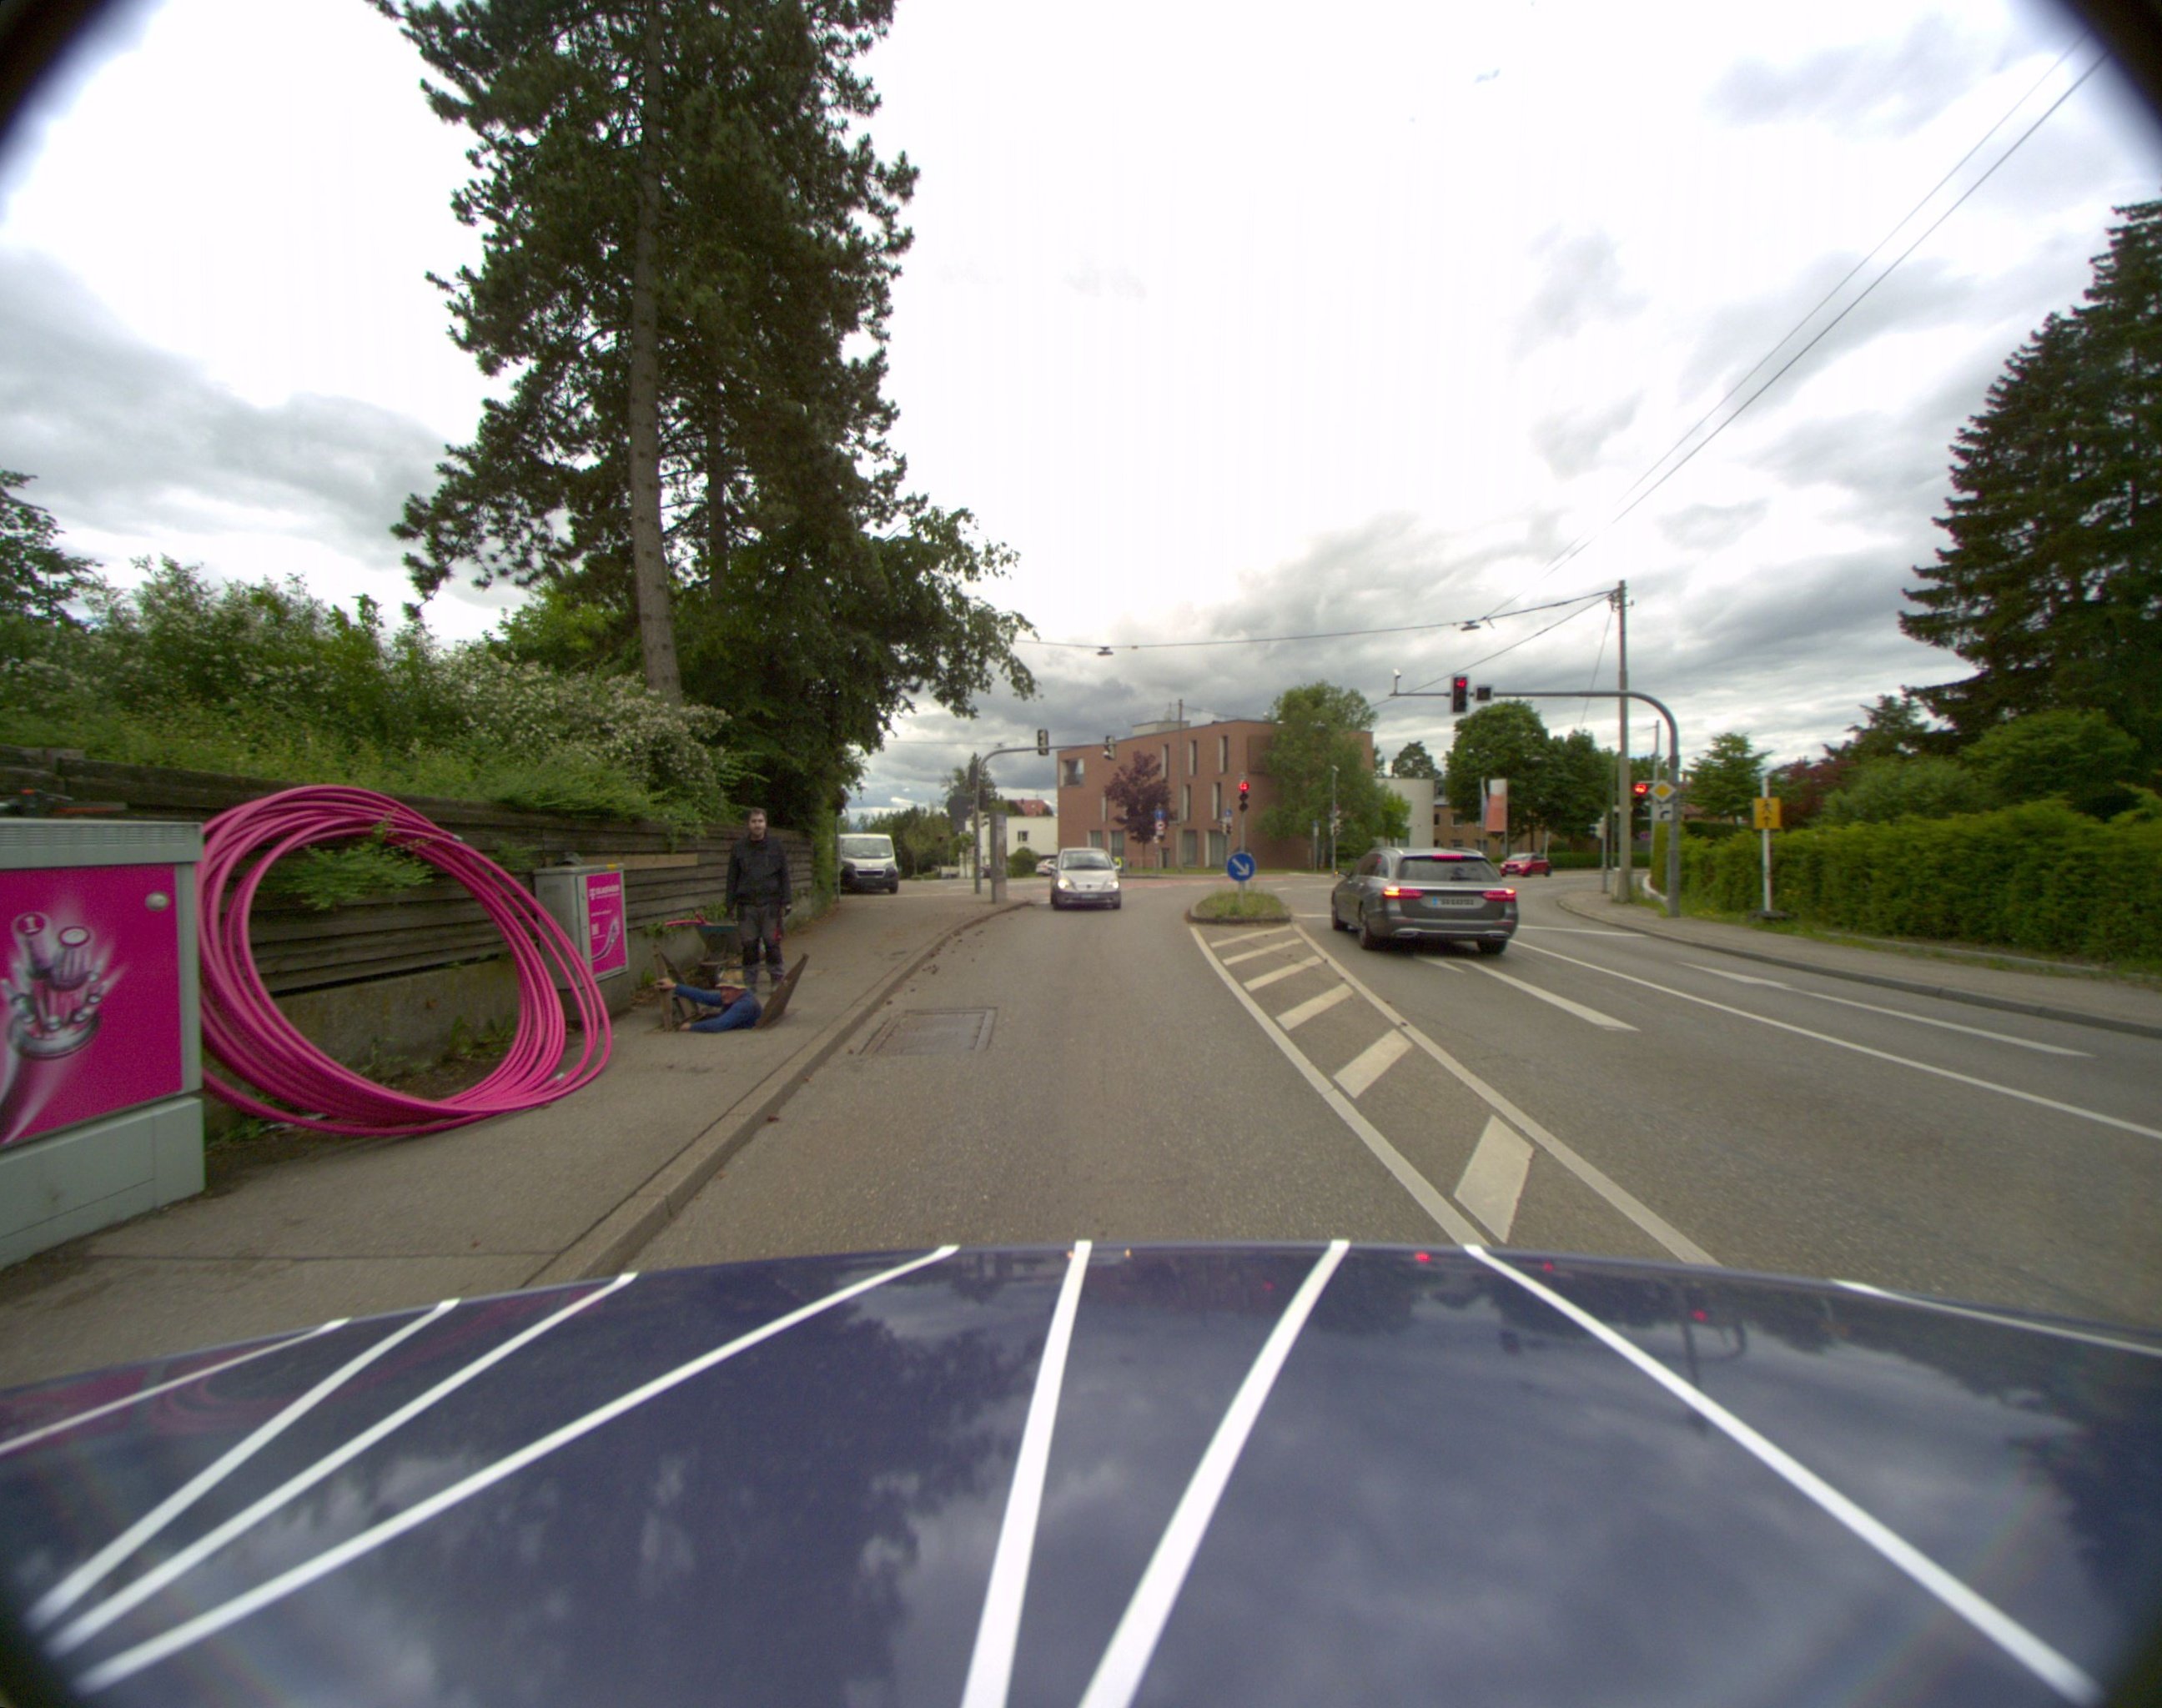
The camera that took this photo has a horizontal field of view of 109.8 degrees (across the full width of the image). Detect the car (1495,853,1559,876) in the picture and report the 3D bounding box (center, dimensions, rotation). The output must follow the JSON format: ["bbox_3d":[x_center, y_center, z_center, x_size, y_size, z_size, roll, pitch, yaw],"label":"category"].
[{"bbox_3d":[27.650,0.616,47.040,4.007,1.193,1.994,-2,2,-36],"label":"car"}]

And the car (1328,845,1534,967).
[{"bbox_3d":[5.060,0.624,11.737,1.828,1.476,4.752,0,0,11],"label":"car"}]

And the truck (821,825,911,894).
[{"bbox_3d":[-8.361,0.157,29.041,2.407,2.338,6.176,0,1,-24],"label":"truck"}]

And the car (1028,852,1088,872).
[{"bbox_3d":[-1.901,0.670,62.272,4.442,1.549,1.996,-1,0,-25],"label":"car"}]

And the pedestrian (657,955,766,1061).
[{"bbox_3d":[-3.027,1.232,6.219,0.648,0.692,0.583,-2,1,-42],"label":"pedestrian"}]

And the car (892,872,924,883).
[{"bbox_3d":[-26.211,3.545,115.047,4.442,1.549,1.996,-1,0,-25],"label":"car"}]

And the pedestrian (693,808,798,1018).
[{"bbox_3d":[-3.242,0.529,7.424,0.849,1.912,0.800,-1,1,-21],"label":"pedestrian"}]

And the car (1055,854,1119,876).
[{"bbox_3d":[0.481,0.844,58.397,4.442,1.549,1.996,-1,0,-25],"label":"car"}]

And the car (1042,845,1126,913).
[{"bbox_3d":[0.037,0.586,20.289,1.999,1.586,3.999,-2,0,-1],"label":"car"}]
